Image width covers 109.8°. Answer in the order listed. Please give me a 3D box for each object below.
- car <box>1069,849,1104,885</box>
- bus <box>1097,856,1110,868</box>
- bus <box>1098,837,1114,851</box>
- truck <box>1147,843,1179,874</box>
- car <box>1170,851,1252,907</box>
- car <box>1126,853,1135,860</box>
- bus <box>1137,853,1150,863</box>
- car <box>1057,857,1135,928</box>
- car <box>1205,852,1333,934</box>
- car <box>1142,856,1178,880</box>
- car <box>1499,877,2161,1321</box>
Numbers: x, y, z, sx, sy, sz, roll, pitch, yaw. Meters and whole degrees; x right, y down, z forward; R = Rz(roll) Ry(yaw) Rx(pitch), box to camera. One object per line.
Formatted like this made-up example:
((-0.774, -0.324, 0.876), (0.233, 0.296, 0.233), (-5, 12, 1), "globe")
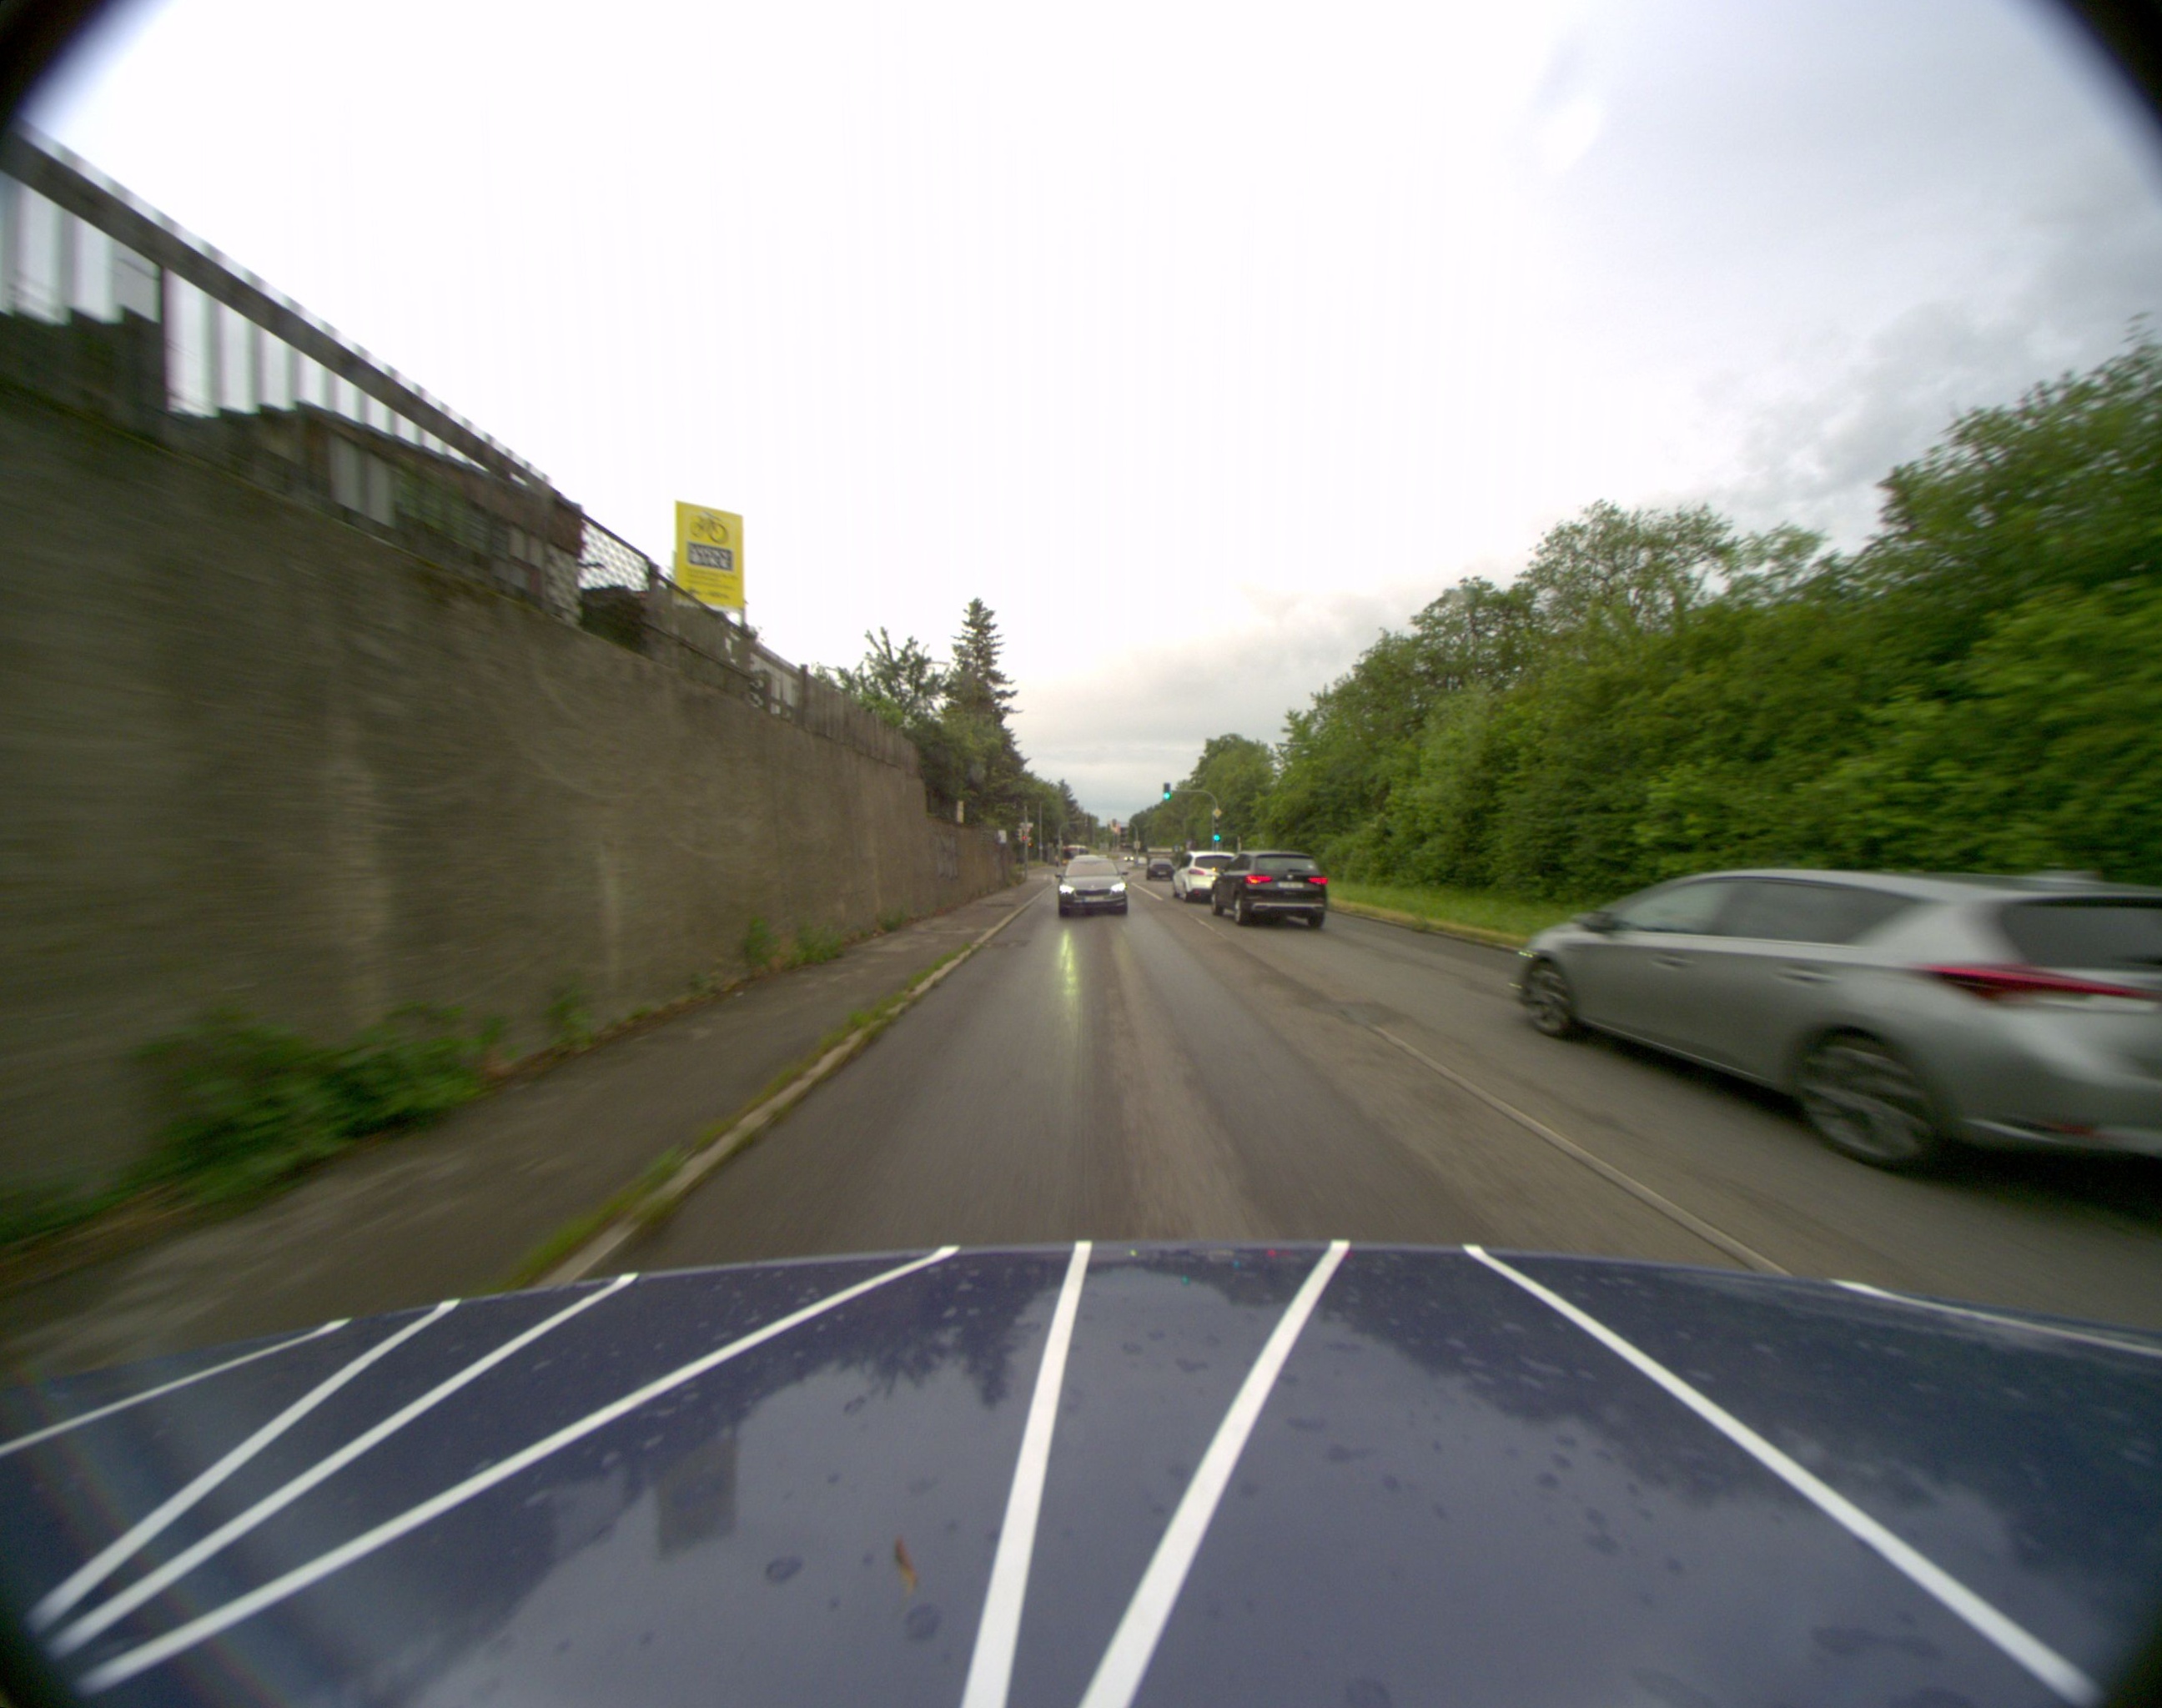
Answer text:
((0.244, 0.648, 39.798), (1.704, 1.724, 3.999), (-1, 1, 0), "car")
((3.604, 1.270, 121.365), (1.998, 1.812, 4.485), (1, 0, 0), "bus")
((6.041, -2.413, 184.756), (3.175, 3.241, 8.215), (1, 0, 7), "bus")
((6.846, 0.355, 64.076), (2.479, 2.494, 5.639), (1, 0, 5), "truck")
((4.091, 0.745, 24.660), (1.899, 1.625, 4.269), (1, 0, 0), "car")
((11.795, 0.577, 181.468), (1.997, 1.812, 4.488), (1, 0, 7), "car")
((11.457, 0.676, 140.081), (1.998, 1.812, 4.486), (1, 0, 1), "bus")
((0.355, 0.868, 19.119), (1.675, 1.477, 4.215), (-3, 0, 1), "car")
((4.020, 0.752, 16.991), (1.737, 1.584, 4.281), (1, 0, -1), "car")
((5.130, 0.871, 49.705), (1.931, 1.471, 4.000), (1, 0, 1), "car")
((4.639, 0.941, 4.748), (1.806, 1.423, 4.178), (1, 0, 1), "car")
